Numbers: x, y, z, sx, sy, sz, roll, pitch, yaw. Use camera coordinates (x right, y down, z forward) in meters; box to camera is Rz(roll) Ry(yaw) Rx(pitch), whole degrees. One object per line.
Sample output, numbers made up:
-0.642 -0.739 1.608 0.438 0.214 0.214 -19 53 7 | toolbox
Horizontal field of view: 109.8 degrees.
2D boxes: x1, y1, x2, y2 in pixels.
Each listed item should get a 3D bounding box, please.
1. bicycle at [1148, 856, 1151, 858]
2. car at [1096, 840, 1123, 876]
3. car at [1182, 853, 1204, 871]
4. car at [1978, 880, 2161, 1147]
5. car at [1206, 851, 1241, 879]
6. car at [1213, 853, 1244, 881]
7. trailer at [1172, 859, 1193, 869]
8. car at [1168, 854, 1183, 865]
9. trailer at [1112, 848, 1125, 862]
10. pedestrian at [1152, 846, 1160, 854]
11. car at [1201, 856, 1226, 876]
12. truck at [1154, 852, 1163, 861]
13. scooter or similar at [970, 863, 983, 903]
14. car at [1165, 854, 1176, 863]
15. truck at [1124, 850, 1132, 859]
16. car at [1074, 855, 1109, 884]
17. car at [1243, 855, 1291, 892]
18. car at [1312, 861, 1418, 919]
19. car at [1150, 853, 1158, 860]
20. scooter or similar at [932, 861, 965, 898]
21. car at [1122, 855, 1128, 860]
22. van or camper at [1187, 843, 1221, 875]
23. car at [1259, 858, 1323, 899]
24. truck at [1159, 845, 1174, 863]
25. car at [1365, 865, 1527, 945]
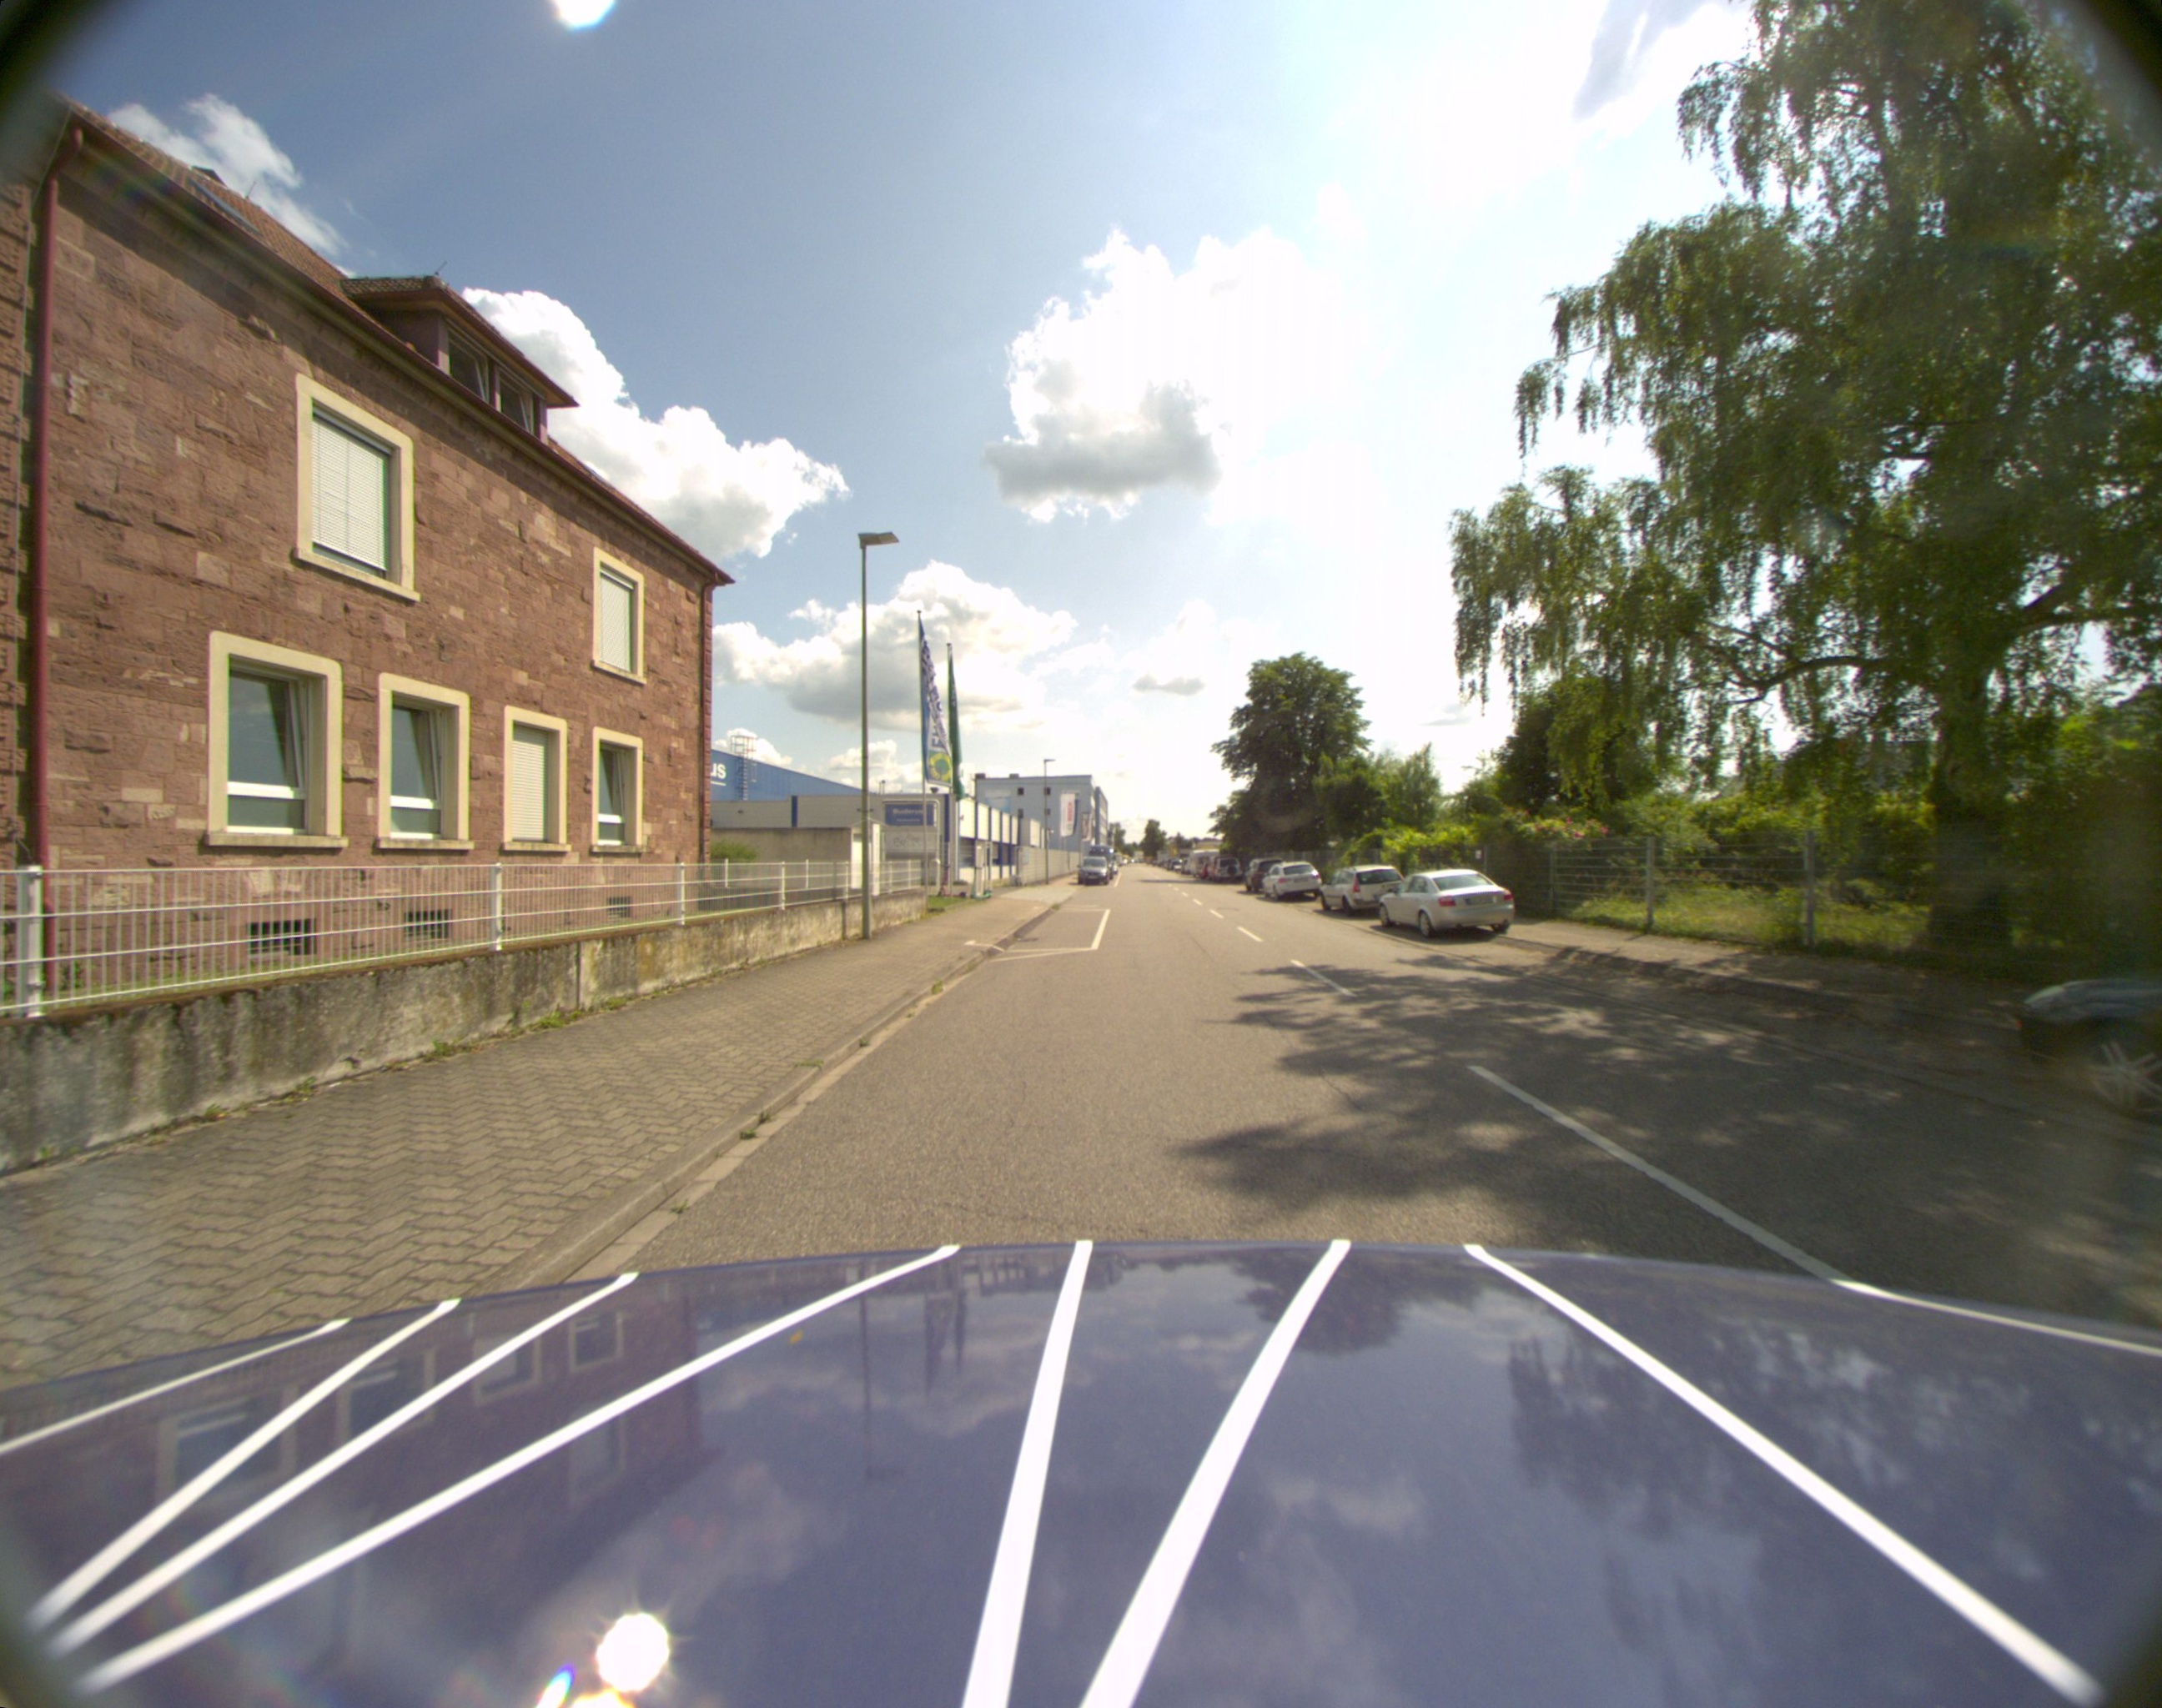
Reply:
17.063 0.746 189.412 0.588 0.737 2.126 0 0 6 | bicycle
2.340 0.338 60.865 1.942 2.732 6.156 1 0 3 | car
11.876 0.836 80.802 1.688 1.682 4.445 -4 0 0 | car
7.313 0.988 3.422 1.686 1.504 4.158 -4 1 3 | car
11.097 0.804 59.377 1.902 1.943 4.959 -5 0 3 | car
10.234 0.858 52.912 1.703 1.791 3.828 -3 0 6 | car
12.792 1.245 96.303 2.276 0.878 7.134 -4 0 5 | trailer
13.038 0.785 104.877 1.581 1.504 4.202 -1 0 2 | car
6.847 0.193 138.586 1.872 2.538 5.074 0 0 6 | trailer
19.273 -0.965 194.436 1.998 2.002 4.001 -1 1 5 | pedestrian
11.392 0.996 65.497 1.628 1.523 4.269 -4 0 4 | car
19.846 0.681 195.066 2.132 2.225 7.353 -2 0 7 | truck
-3.496 0.973 25.445 0.333 1.304 0.366 0 1 3 | scooter or similar
14.524 0.709 123.366 1.619 1.475 3.710 -2 0 4 | car
15.960 0.202 255.526 2.401 2.787 6.377 1 0 5 | truck
0.681 0.873 45.042 1.829 1.655 4.557 1 0 4 | car
9.287 0.929 38.178 1.614 1.735 4.638 -2 0 5 | car
8.813 1.054 24.014 1.798 1.518 4.660 -2 0 4 | car
25.080 0.942 260.295 1.996 2.289 4.004 0 0 14 | car
-4.598 0.869 26.293 1.147 1.238 0.259 1 1 21 | scooter or similar
12.950 1.034 221.867 1.657 1.324 4.001 0 0 3 | car
11.656 0.408 72.545 2.268 2.787 6.834 -3 0 2 | van or camper
8.828 0.979 32.265 1.704 1.585 4.789 0 0 4 | car
16.880 0.113 150.462 2.255 3.342 6.908 -4 -1 3 | truck
8.403 1.089 18.007 1.728 1.468 4.632 -4 0 3 | car
